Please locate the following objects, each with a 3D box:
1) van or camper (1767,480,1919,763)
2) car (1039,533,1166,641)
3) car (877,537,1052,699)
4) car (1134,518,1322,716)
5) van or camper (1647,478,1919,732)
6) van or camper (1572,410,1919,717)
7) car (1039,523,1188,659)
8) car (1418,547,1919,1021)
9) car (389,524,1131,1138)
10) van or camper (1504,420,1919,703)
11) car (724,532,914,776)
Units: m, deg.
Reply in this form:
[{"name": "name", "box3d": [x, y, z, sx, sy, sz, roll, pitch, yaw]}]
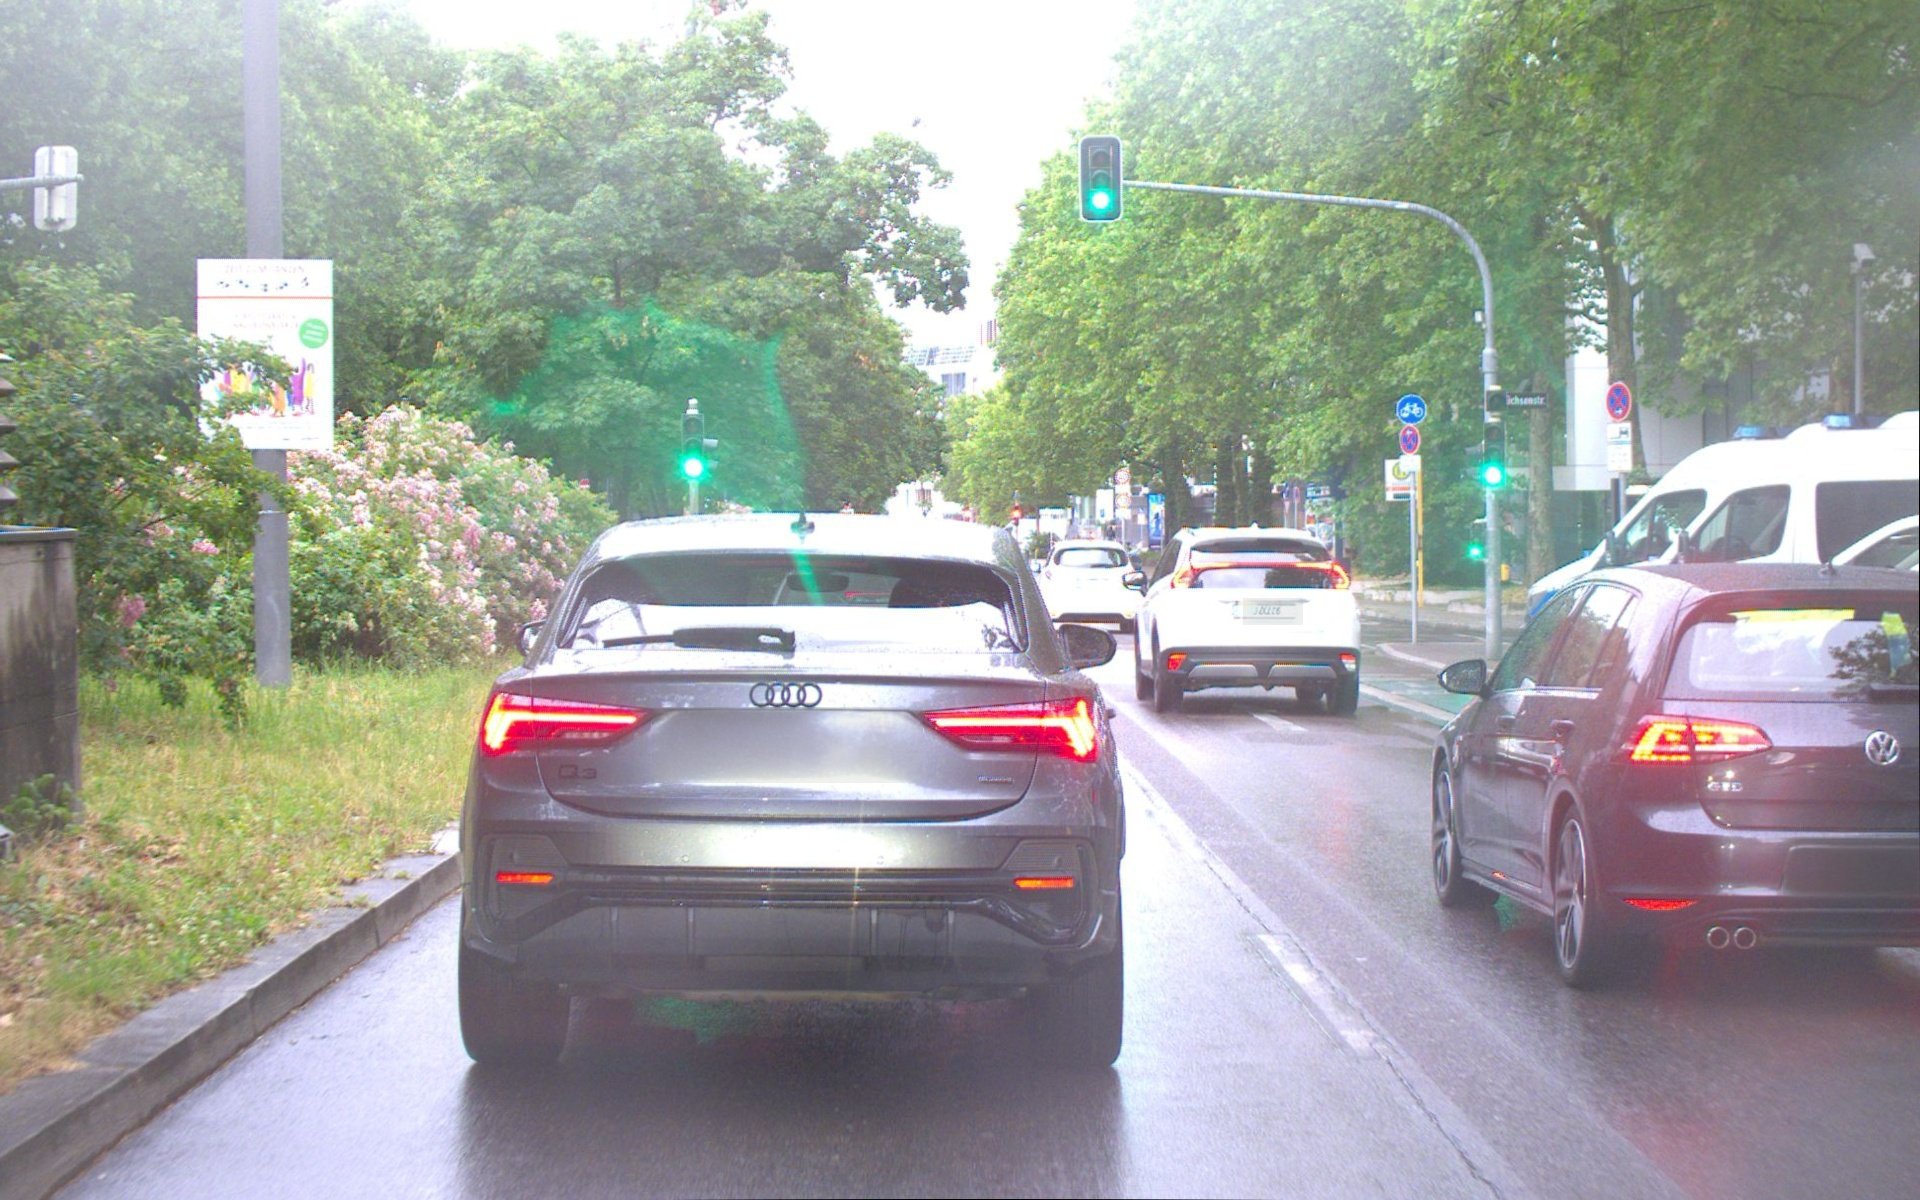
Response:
[{"name": "van or camper", "box3d": [8.553, 0.193, 24.158, 5.203, 1.985, 1.996, 2, 1, 34]}, {"name": "car", "box3d": [2.406, -0.250, 58.924, 1.993, 1.744, 4.000, 0, 1, 0]}, {"name": "car", "box3d": [0.019, 0.141, 35.972, 1.721, 1.572, 3.962, 0, 1, -1]}, {"name": "car", "box3d": [2.378, 0.110, 31.014, 1.433, 1.679, 2.979, -1, 1, 0]}, {"name": "van or camper", "box3d": [8.315, 0.039, 27.865, 5.011, 2.007, 1.996, 0, 0, 35]}, {"name": "van or camper", "box3d": [8.619, -0.340, 30.996, 5.805, 2.671, 1.996, 1, 1, 35]}, {"name": "car", "box3d": [2.039, -0.159, 46.581, 1.822, 1.744, 4.000, 0, 1, 0]}, {"name": "car", "box3d": [2.872, 0.537, 12.633, 1.765, 1.408, 4.000, -1, 1, -1]}, {"name": "car", "box3d": [-0.472, 0.532, 10.901, 1.863, 1.527, 4.527, 0, 1, 1]}, {"name": "van or camper", "box3d": [8.513, -0.395, 34.141, 5.810, 2.668, 2.143, 1, 1, 37]}, {"name": "car", "box3d": [-0.833, 0.287, 21.259, 1.050, 1.383, 2.694, -1, 1, 0]}]
